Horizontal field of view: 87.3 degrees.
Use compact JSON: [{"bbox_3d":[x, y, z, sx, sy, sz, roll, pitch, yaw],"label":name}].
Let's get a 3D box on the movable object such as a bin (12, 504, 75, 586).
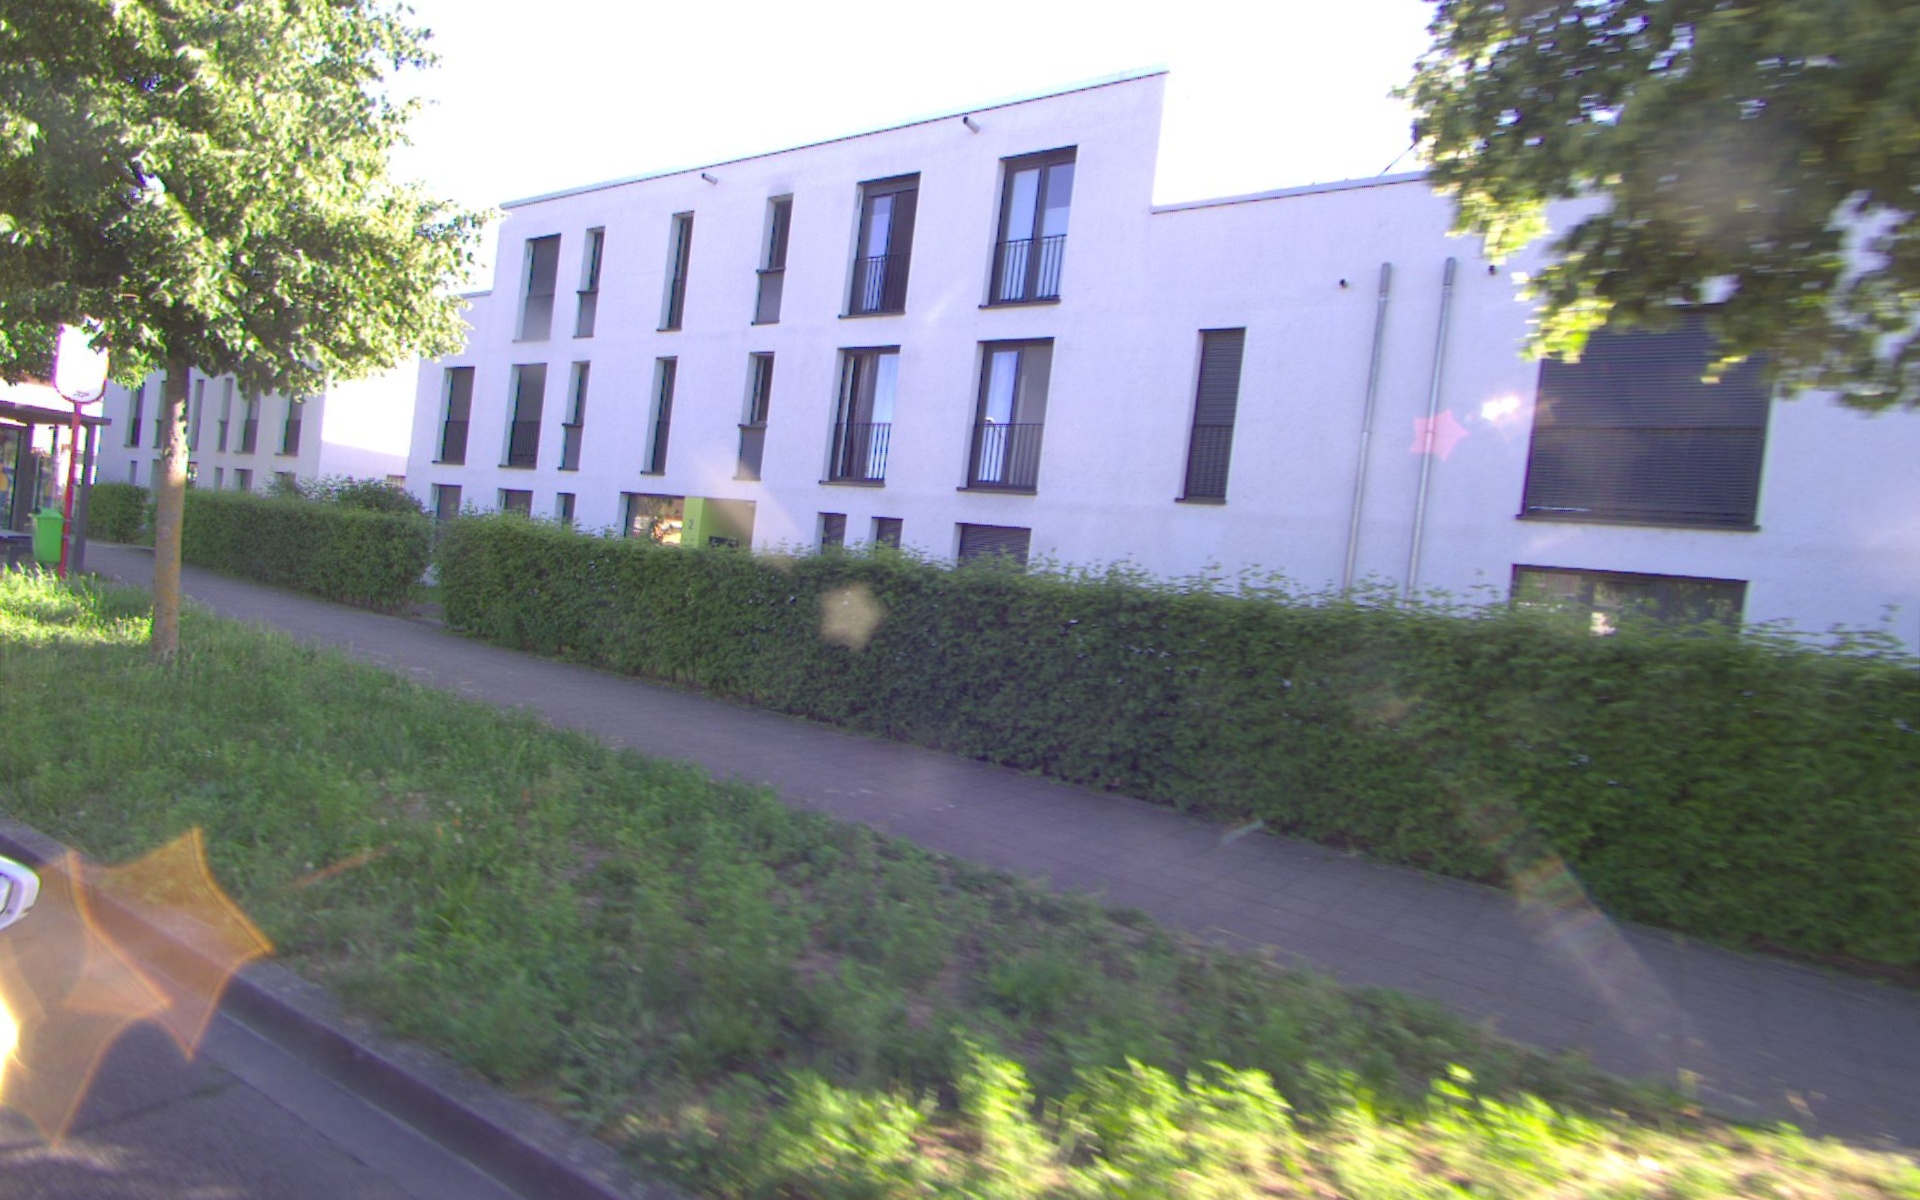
[{"bbox_3d":[-12.341,-0.739,13.546,0.589,1.029,0.369,8,1,26],"label":"movable object such as a bin"}]
